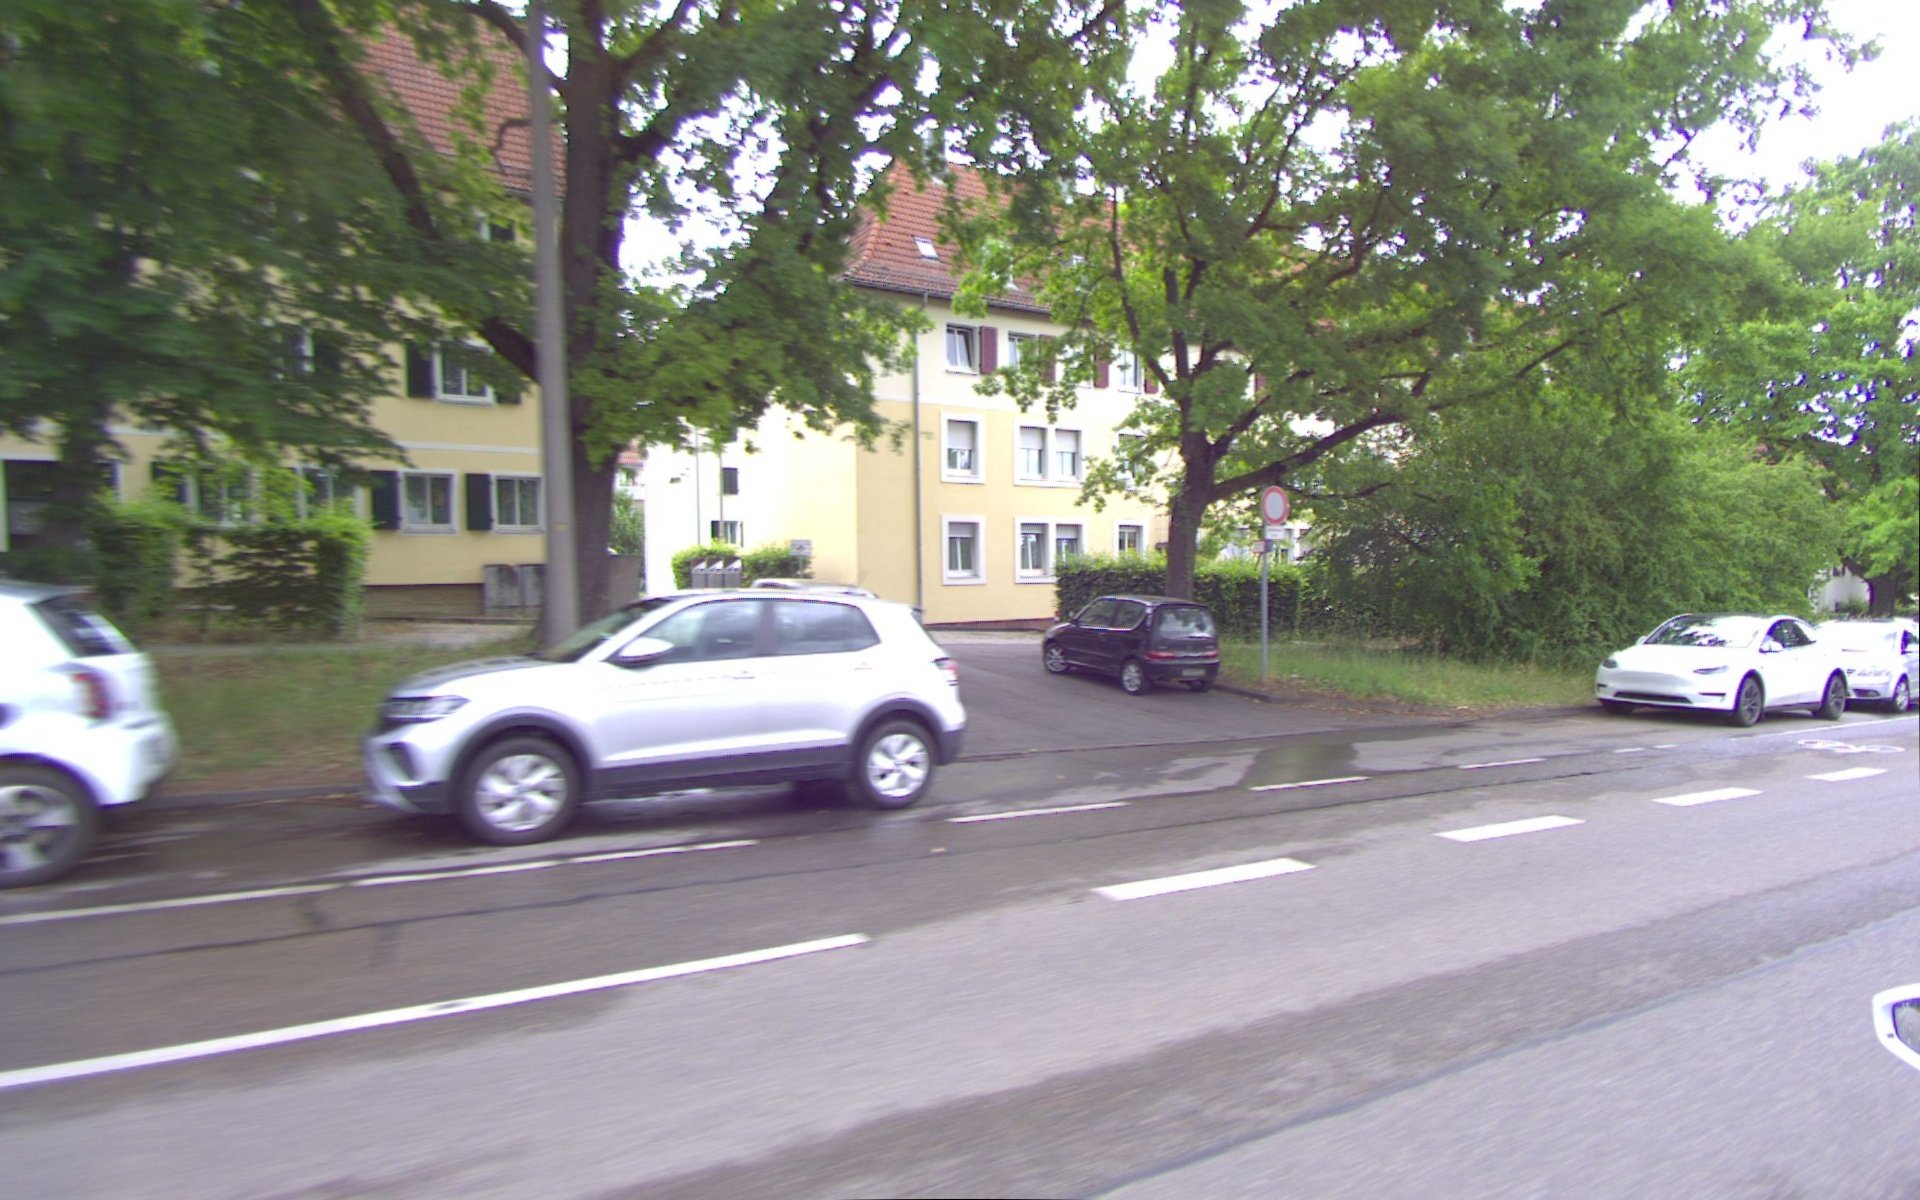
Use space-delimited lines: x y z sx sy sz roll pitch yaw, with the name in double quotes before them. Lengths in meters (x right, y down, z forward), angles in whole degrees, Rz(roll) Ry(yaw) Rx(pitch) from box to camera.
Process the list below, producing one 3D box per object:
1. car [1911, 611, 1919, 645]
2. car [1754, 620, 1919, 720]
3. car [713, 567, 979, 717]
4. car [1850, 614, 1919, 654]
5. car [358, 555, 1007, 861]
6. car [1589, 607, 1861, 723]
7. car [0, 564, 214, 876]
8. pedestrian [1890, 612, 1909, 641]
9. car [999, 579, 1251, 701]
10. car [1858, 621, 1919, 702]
"car" 48.691 1.421 49.590 4.247 1.655 1.749 1 1 -36
"car" 16.611 1.217 18.603 4.078 1.594 1.856 2 0 -35
"car" -1.759 0.440 13.873 1.849 1.470 4.405 1 4 -33
"car" 39.778 1.425 42.790 4.397 1.490 1.749 1 3 -36
"car" -1.867 0.612 7.213 4.107 1.655 1.758 1 0 -29
"car" 12.114 0.955 15.820 4.704 1.594 1.759 2 -1 -30
"car" -6.019 0.552 4.880 3.677 1.501 1.573 1 0 -31
"pedestrian" 54.239 1.543 57.991 0.823 1.635 0.625 1 1 -38
"car" 2.554 0.554 16.765 1.862 1.474 4.415 1 4 -26
"car" 21.074 1.298 21.548 4.326 1.594 1.704 2 0 -35
